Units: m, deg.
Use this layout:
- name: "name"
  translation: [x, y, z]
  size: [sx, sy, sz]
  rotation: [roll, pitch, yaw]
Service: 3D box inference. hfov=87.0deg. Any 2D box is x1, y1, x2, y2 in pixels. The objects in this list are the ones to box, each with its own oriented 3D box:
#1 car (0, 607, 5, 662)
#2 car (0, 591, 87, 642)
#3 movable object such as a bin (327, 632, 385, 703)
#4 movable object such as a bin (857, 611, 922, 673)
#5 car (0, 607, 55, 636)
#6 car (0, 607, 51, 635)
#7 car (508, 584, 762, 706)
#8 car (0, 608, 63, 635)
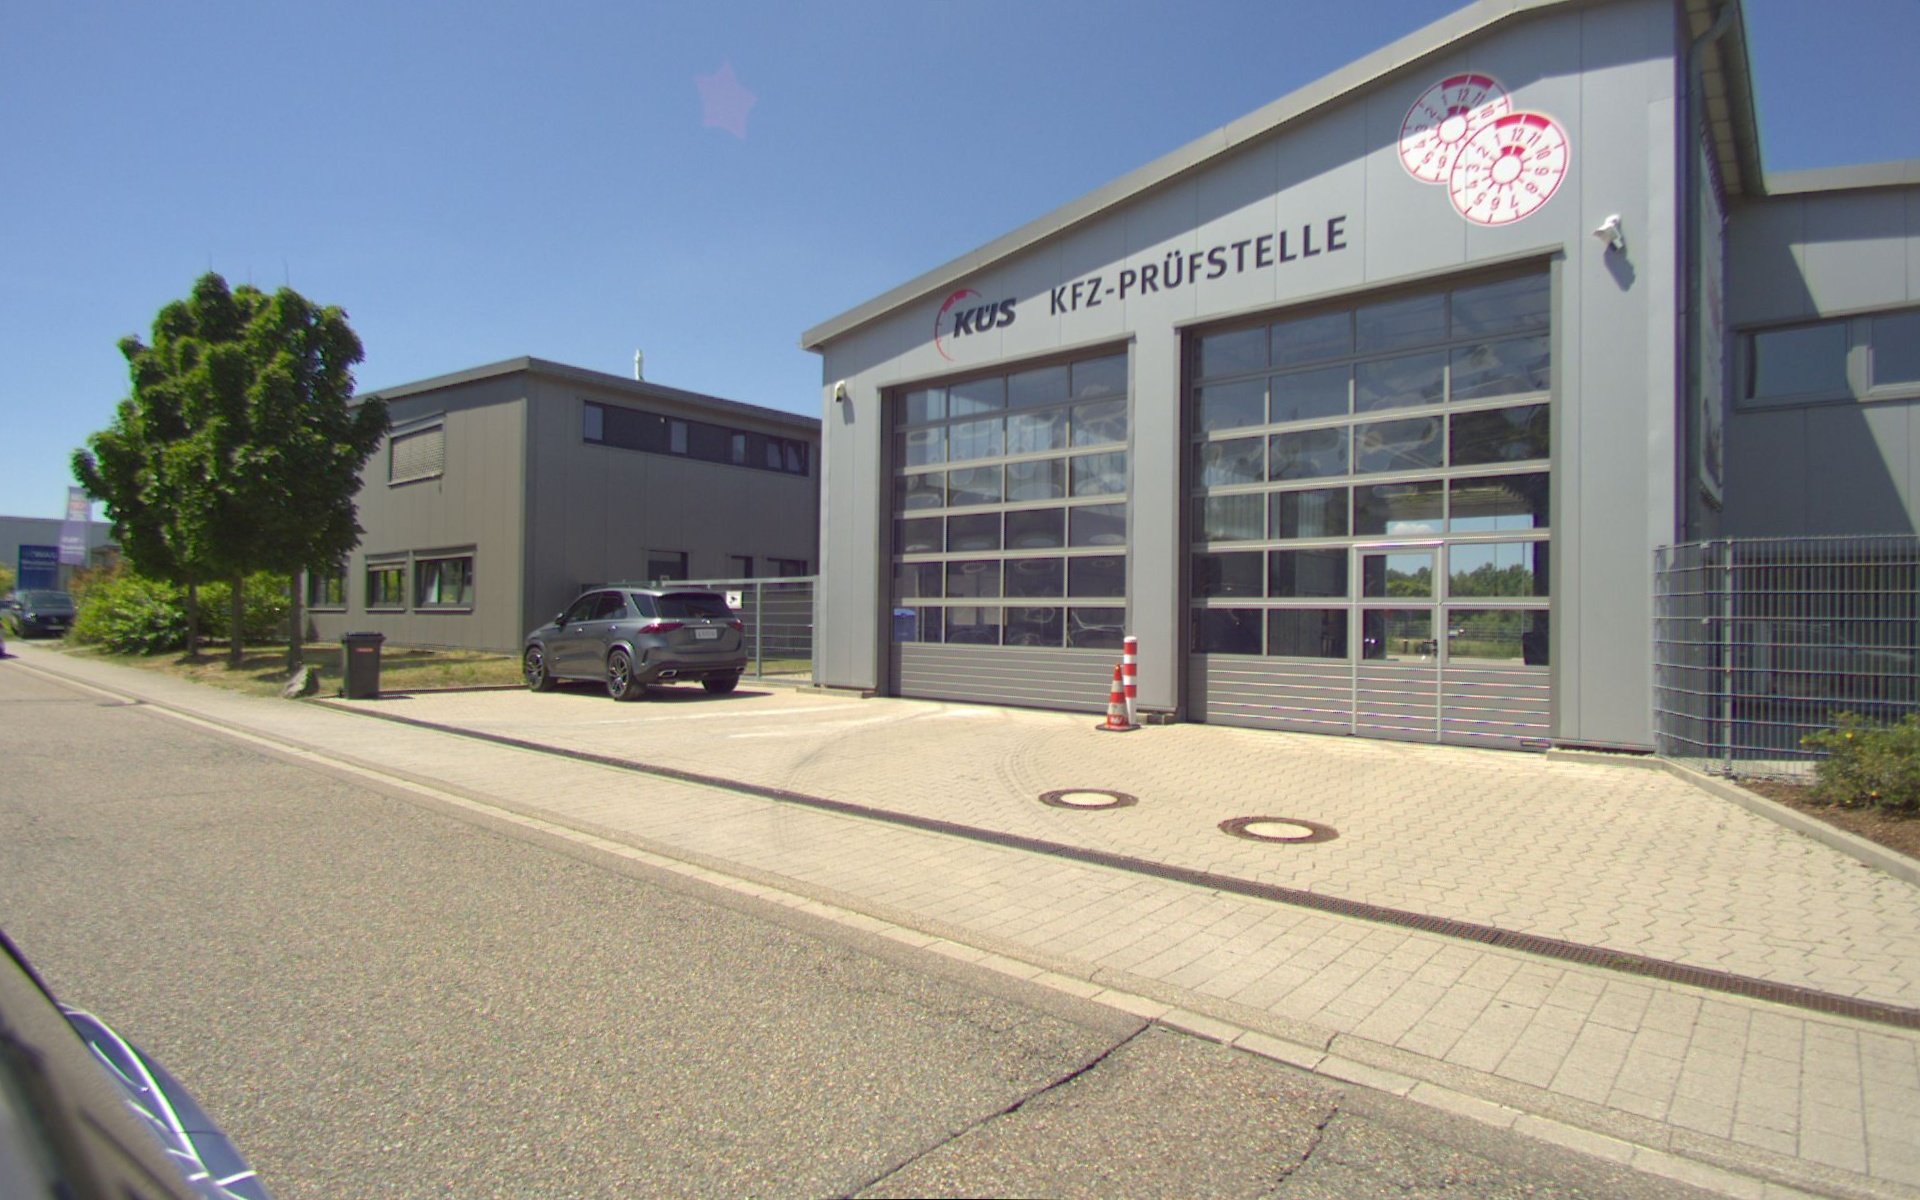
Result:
- name: "car"
  translation: [-27.841, 0.925, 27.925]
  size: [4.489, 1.469, 1.712]
  rotation: [-1, -2, 41]
- name: "car"
  translation: [-37.145, 0.670, 40.963]
  size: [5.215, 1.971, 1.973]
  rotation: [-1, -2, 41]
- name: "movable object such as a bin"
  translation: [-9.599, 1.056, 16.086]
  size: [0.765, 1.074, 0.573]
  rotation: [-1, 0, 41]
- name: "movable object such as a bin"
  translation: [-1.685, 0.991, 24.119]
  size: [1.148, 1.426, 1.012]
  rotation: [-2, -2, 38]
- name: "car"
  translation: [-50.593, 1.155, 54.359]
  size: [1.534, 1.529, 2.713]
  rotation: [-1, -2, 40]
- name: "car"
  translation: [-54.461, 1.188, 57.326]
  size: [1.864, 1.529, 4.219]
  rotation: [-1, -2, 40]
- name: "car"
  translation: [-5.557, 0.711, 16.898]
  size: [4.915, 1.749, 1.971]
  rotation: [-2, -2, 45]
- name: "car"
  translation: [-52.286, 1.204, 55.644]
  size: [1.846, 1.442, 4.263]
  rotation: [-1, -2, 42]
